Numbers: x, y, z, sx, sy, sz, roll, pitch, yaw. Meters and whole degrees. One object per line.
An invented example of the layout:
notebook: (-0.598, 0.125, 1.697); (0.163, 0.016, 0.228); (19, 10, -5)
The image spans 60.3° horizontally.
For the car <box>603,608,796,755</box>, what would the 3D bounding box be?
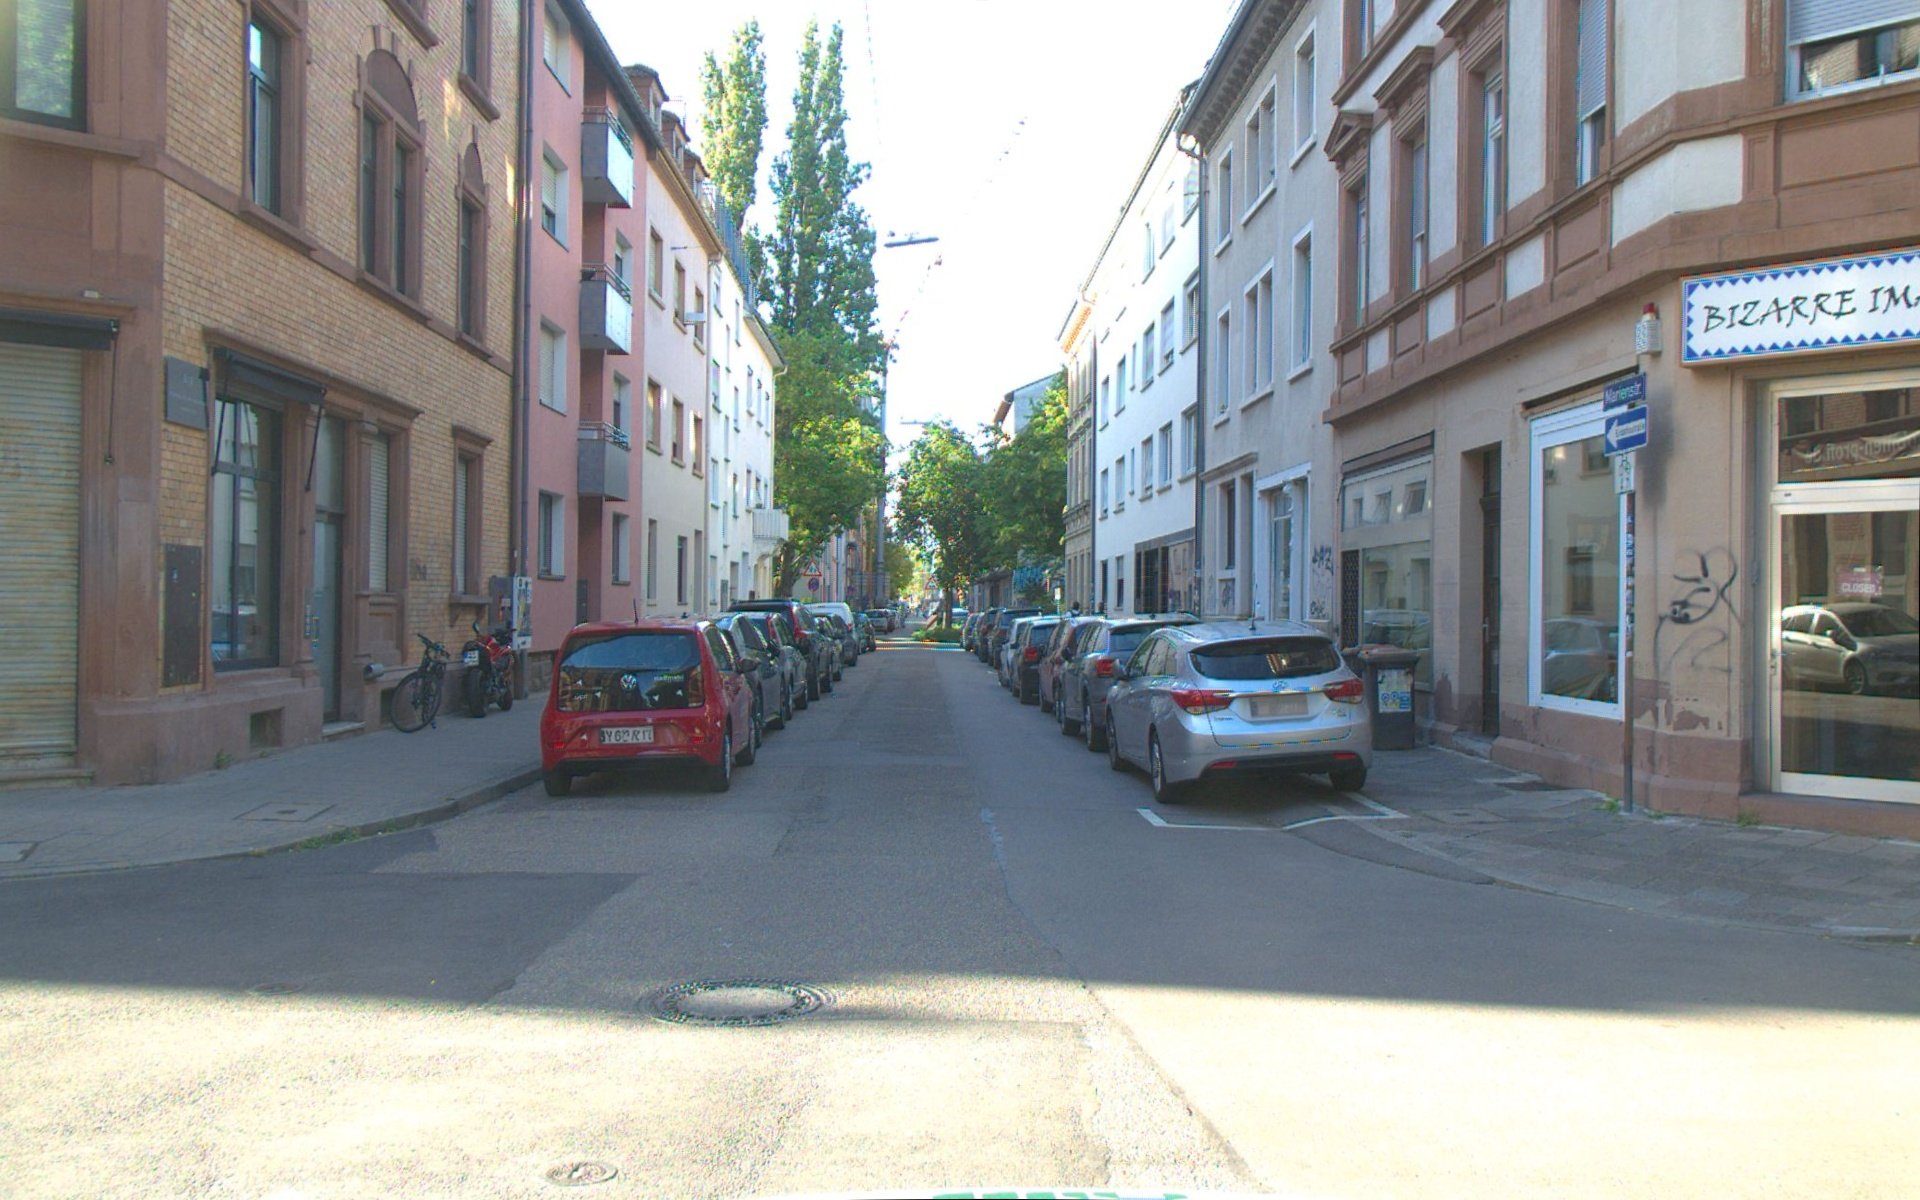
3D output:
car: (-3.079, 0.911, 20.321); (1.660, 1.548, 4.096); (-2, 0, 0)

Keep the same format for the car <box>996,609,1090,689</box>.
car: (1.717, 0.999, 35.253); (1.642, 1.533, 3.936); (-2, 0, -2)

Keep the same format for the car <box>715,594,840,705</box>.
car: (-3.284, 0.842, 30.514); (1.708, 1.842, 4.672); (-2, 0, 0)

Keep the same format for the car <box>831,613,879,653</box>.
car: (-3.964, 1.241, 63.031); (1.636, 1.385, 4.047); (-2, 0, -2)

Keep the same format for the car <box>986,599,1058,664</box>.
car: (1.722, 0.875, 46.931); (1.642, 1.655, 4.248); (-4, 0, -2)

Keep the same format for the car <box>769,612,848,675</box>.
car: (-3.684, 1.028, 40.836); (1.640, 1.412, 4.180); (-2, 0, -2)

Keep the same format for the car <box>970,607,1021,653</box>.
car: (1.281, 1.079, 61.546); (1.642, 1.588, 3.794); (-2, 0, -2)

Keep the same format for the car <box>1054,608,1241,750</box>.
car: (2.223, 0.892, 20.590); (1.709, 1.533, 4.019); (-2, 0, -2)

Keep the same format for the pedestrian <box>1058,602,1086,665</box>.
pedestrian: (3.058, 0.910, 45.088); (0.672, 1.689, 0.717); (0, 0, -2)

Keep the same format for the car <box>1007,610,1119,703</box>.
car: (1.825, 0.982, 30.368); (1.642, 1.533, 3.936); (-2, 0, -2)

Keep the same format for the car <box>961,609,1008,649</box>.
car: (0.963, 1.134, 66.442); (1.642, 1.513, 4.093); (-2, 0, -2)

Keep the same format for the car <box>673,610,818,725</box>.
car: (-3.175, 0.956, 25.113); (1.622, 1.548, 3.944); (-2, 0, 0)

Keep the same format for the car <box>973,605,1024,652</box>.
car: (1.316, 0.969, 57.334); (1.535, 1.509, 3.617); (-2, 0, -2)

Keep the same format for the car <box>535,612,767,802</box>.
car: (-2.781, 0.901, 15.577); (1.595, 1.507, 3.599); (-2, 0, -2)

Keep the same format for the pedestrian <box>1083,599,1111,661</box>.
pedestrian: (3.738, 0.816, 45.126); (0.672, 1.689, 0.717); (0, 0, -2)

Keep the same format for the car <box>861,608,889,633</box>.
car: (-5.307, 1.271, 103.902); (1.642, 1.513, 4.093); (-2, 0, -2)

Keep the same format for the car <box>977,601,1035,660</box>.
car: (1.410, 0.955, 51.837); (1.641, 1.711, 4.094); (-2, -1, 0)

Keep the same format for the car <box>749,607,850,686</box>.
car: (-3.413, 0.959, 35.814); (1.708, 1.533, 4.346); (-2, 0, 0)

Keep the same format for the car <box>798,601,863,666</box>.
car: (-3.856, 0.964, 49.845); (1.730, 1.816, 4.037); (-2, 0, -2)

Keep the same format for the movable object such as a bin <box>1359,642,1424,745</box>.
movable object such as a bin: (4.629, 0.994, 17.768); (0.503, 1.058, 0.619); (-1, 0, -1)

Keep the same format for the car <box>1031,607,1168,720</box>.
car: (2.058, 0.898, 25.435); (1.566, 1.533, 4.182); (-2, 0, -2)

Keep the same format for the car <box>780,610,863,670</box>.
car: (-3.746, 1.062, 45.228); (1.638, 1.512, 3.993); (-2, 0, 4)

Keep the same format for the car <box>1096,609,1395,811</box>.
car: (2.448, 0.877, 15.285); (1.709, 1.533, 4.354); (-2, 0, -4)

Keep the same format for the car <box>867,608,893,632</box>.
car: (-5.266, 1.313, 109.303); (1.642, 1.513, 4.093); (-2, 0, -2)

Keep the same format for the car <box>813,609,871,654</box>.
car: (-4.159, 1.092, 58.626); (1.635, 1.495, 3.821); (-2, 0, 2)

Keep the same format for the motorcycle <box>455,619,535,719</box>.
motorcycle: (-6.052, 0.875, 21.609); (0.522, 1.227, 1.908); (0, 0, -1)

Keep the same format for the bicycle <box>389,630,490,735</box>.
bicycle: (-6.013, 0.923, 19.190); (0.522, 1.092, 1.890); (4, 0, -1)

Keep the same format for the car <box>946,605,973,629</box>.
car: (-0.038, 1.149, 111.838); (1.642, 1.513, 3.636); (-2, 0, -2)

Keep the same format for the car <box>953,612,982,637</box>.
car: (0.474, 1.553, 105.619); (1.642, 1.513, 3.636); (-2, 0, -2)

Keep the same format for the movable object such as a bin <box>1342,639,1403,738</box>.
movable object such as a bin: (4.612, 0.980, 18.522); (0.503, 1.058, 0.594); (-1, 0, -1)
